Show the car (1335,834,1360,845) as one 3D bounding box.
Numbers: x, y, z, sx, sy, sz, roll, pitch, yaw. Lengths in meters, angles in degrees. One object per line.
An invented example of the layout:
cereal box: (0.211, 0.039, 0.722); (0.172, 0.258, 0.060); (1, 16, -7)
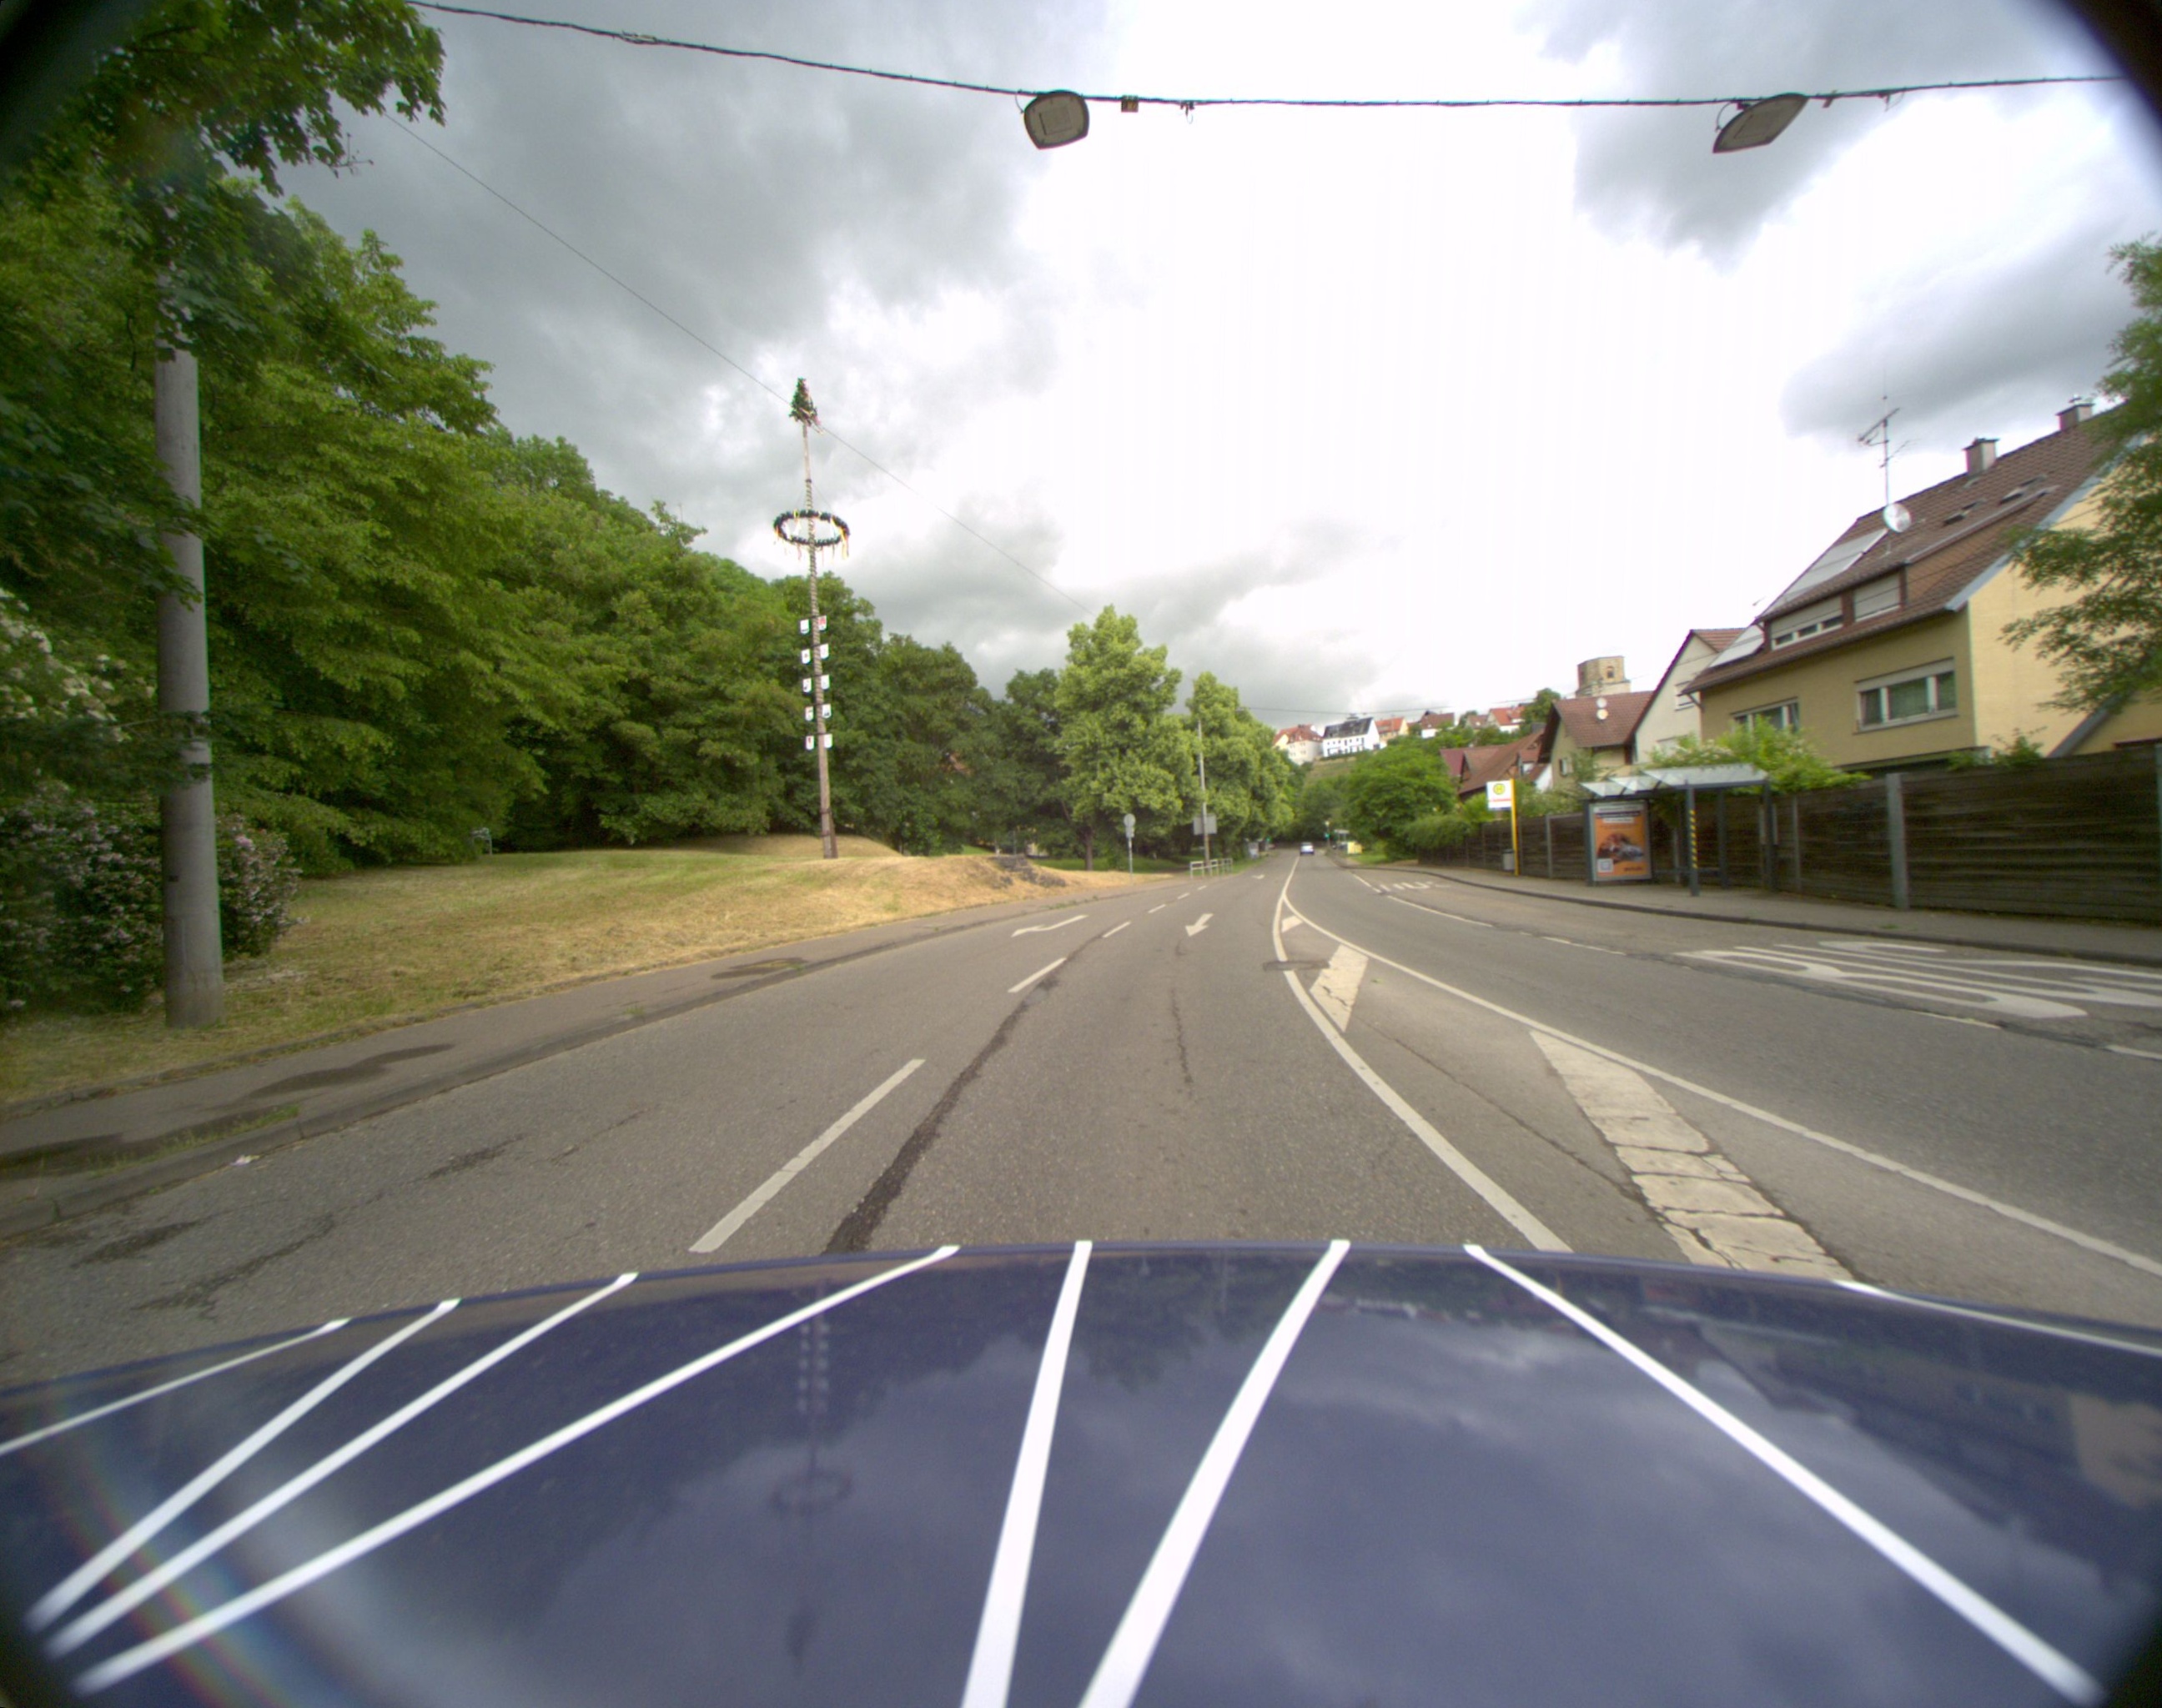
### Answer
car: (43.369, -2.335, 123.498); (3.675, 1.575, 1.767); (-2, 1, 21)

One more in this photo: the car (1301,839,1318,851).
car: (31.778, -1.241, 105.696); (1.997, 1.608, 4.003); (-2, 0, 13)

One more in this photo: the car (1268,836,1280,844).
car: (43.454, -3.112, 170.919); (1.998, 1.565, 4.001); (-3, 0, 6)
